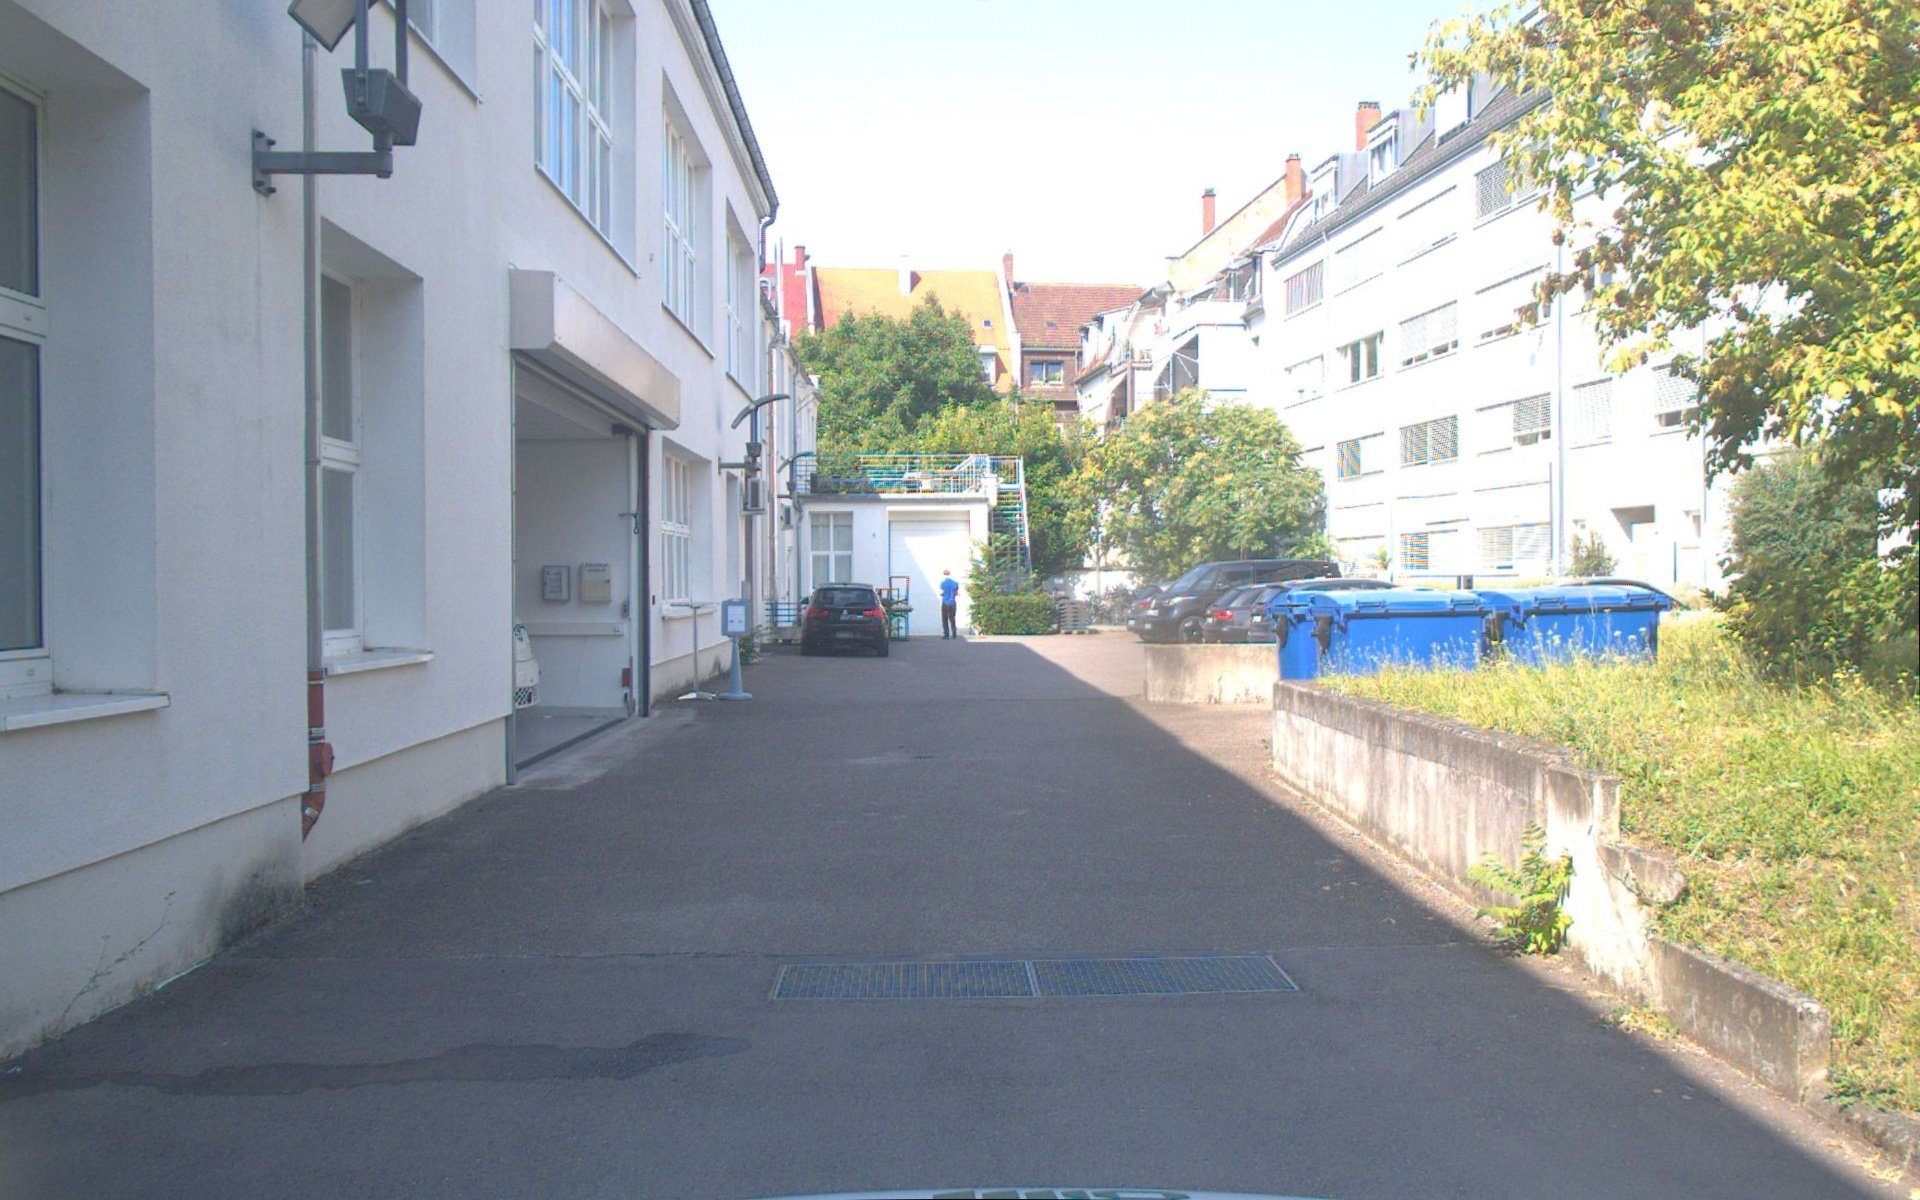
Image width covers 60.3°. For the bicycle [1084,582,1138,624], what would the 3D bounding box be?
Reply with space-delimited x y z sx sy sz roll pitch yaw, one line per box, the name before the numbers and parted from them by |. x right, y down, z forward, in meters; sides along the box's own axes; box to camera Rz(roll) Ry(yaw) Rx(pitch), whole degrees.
bicycle | 4.647 0.079 50.807 1.590 1.235 0.327 -2 0 0

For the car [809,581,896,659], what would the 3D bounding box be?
car | -2.176 0.388 33.893 1.655 1.484 3.920 -1 0 -3

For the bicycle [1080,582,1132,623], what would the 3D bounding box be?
bicycle | 4.608 0.076 52.236 1.588 1.235 0.327 -2 0 12

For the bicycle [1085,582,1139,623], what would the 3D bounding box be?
bicycle | 4.704 0.078 51.130 1.590 1.235 0.327 -2 0 0

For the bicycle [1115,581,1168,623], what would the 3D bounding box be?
bicycle | 5.679 0.064 51.802 1.588 1.235 0.327 -2 0 13

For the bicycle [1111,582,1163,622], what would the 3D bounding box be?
bicycle | 5.643 0.063 52.660 1.588 1.235 0.424 -2 0 12

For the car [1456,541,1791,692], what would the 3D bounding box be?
car | 8.567 0.202 21.551 3.548 1.571 1.801 -5 0 -4

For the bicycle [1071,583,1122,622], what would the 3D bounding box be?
bicycle | 4.457 0.073 54.146 1.592 1.235 0.423 -2 0 -6

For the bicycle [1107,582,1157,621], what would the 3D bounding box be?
bicycle | 5.643 0.058 54.264 1.588 1.235 0.424 -2 0 11

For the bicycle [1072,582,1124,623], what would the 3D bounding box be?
bicycle | 4.408 0.077 52.908 1.590 1.235 0.424 -2 0 -2

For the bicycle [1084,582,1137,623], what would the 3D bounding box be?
bicycle | 4.669 0.077 51.423 1.590 1.235 0.327 -2 0 0

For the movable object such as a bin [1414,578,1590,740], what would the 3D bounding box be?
movable object such as a bin | 4.753 0.498 14.602 1.209 1.364 1.117 -1 0 2

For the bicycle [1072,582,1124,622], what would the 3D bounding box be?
bicycle | 4.476 0.074 53.544 1.592 1.235 0.423 -2 0 -7

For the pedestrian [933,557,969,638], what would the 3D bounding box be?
pedestrian | -0.235 -0.071 42.399 0.895 2.049 0.934 -1 0 -1

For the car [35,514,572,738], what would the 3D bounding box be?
car | -6.530 0.243 16.888 4.651 2.129 2.055 0 0 -2

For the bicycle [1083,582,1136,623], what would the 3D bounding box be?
bicycle | 4.693 0.076 51.874 1.588 1.235 0.327 -2 0 8

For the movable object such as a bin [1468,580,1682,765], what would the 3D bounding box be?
movable object such as a bin | 4.762 0.538 12.884 1.202 1.364 1.075 -1 0 -6

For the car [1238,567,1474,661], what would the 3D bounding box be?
car | 7.200 0.242 30.276 3.788 1.616 1.877 -1 0 -7

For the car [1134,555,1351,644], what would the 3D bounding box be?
car | 6.335 -0.017 37.275 4.419 1.826 1.878 -2 0 -11

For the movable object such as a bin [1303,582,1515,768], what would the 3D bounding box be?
movable object such as a bin | 3.458 0.554 12.854 1.283 1.364 1.099 -1 0 -5

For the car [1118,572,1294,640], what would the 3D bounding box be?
car | 5.943 0.143 40.150 3.861 1.508 1.770 -2 0 -11

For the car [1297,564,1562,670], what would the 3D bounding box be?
car | 7.649 0.255 27.084 3.731 1.616 1.892 -1 0 -11

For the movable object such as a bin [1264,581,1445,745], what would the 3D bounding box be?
movable object such as a bin | 3.454 0.531 14.606 1.274 1.364 1.194 -1 0 -2

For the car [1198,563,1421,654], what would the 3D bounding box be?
car | 6.944 0.156 33.089 4.036 1.721 1.770 -1 0 -4
